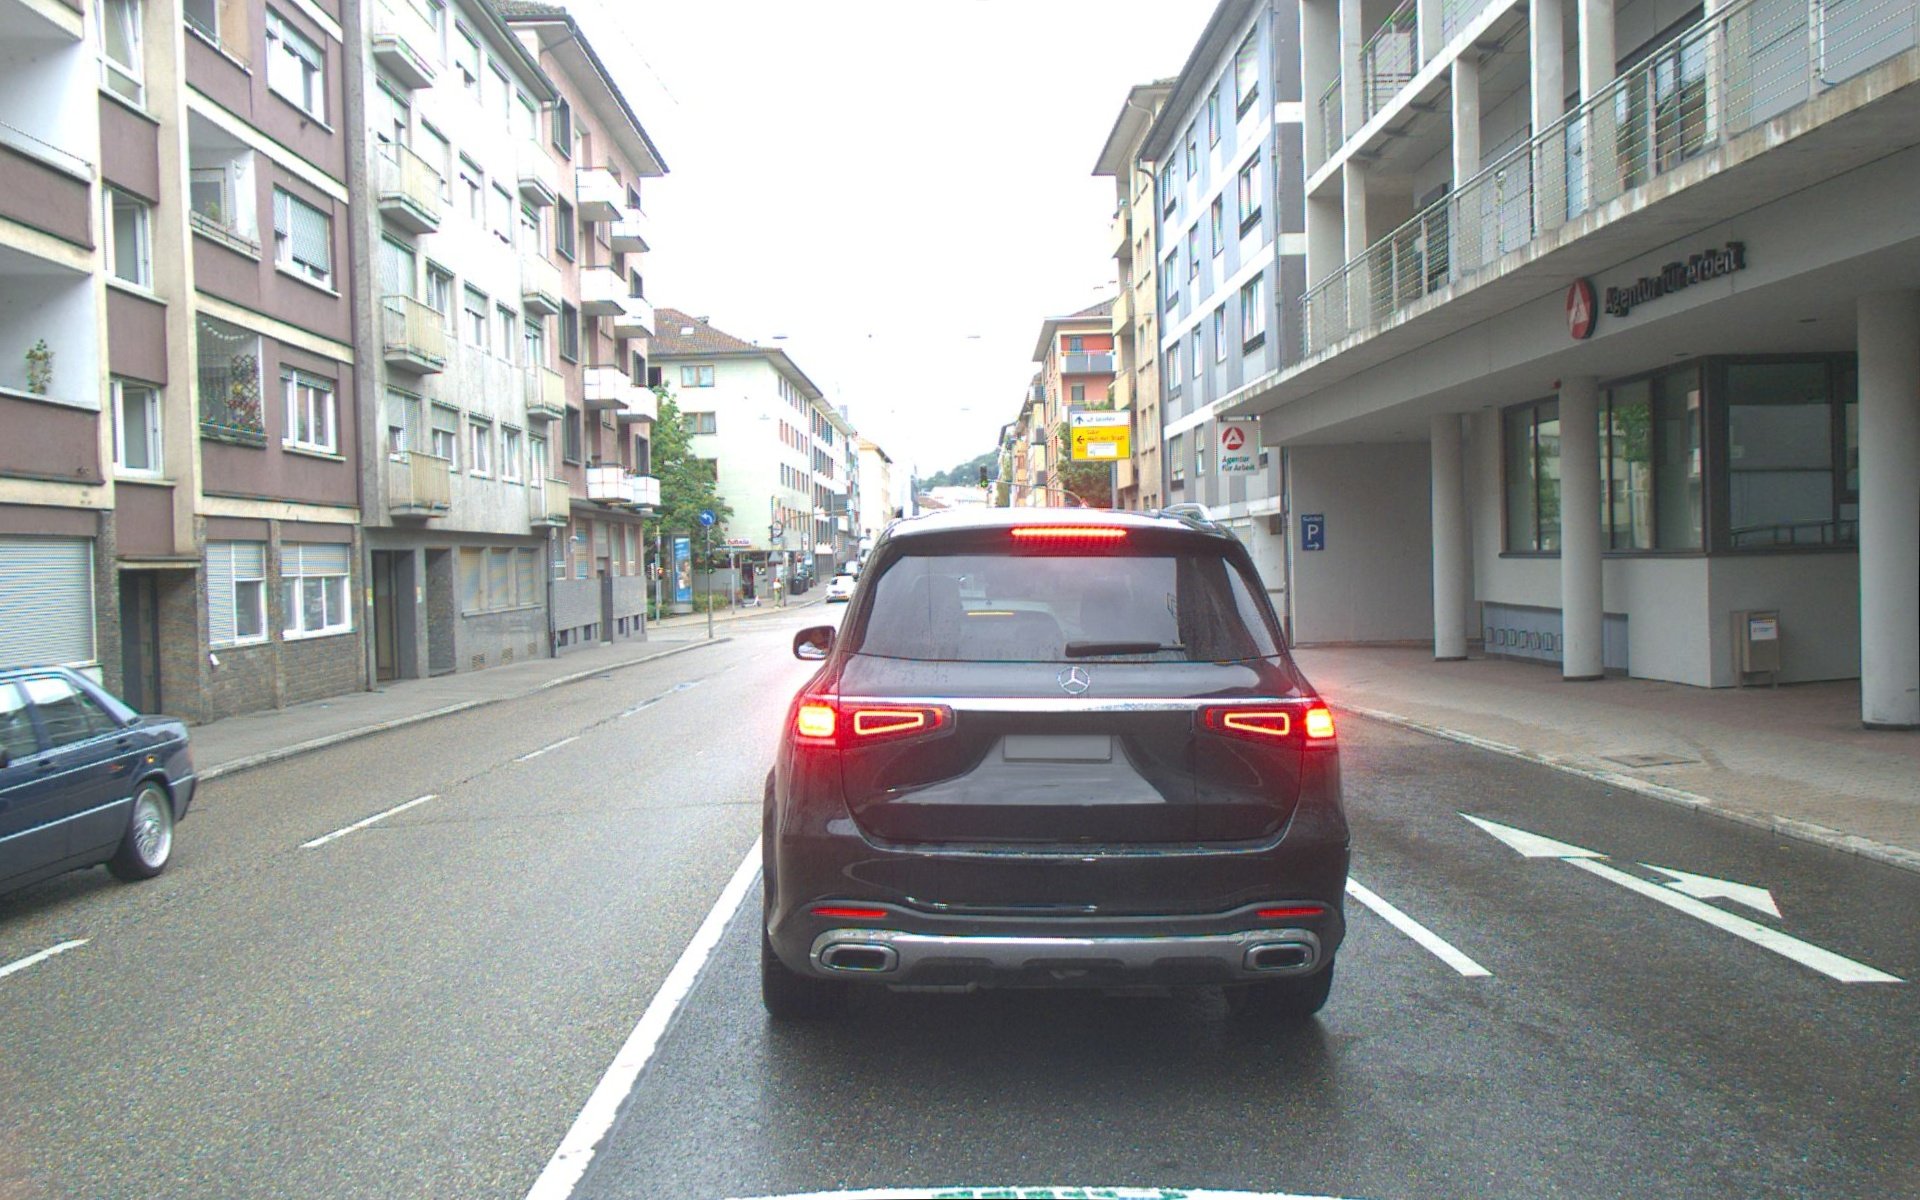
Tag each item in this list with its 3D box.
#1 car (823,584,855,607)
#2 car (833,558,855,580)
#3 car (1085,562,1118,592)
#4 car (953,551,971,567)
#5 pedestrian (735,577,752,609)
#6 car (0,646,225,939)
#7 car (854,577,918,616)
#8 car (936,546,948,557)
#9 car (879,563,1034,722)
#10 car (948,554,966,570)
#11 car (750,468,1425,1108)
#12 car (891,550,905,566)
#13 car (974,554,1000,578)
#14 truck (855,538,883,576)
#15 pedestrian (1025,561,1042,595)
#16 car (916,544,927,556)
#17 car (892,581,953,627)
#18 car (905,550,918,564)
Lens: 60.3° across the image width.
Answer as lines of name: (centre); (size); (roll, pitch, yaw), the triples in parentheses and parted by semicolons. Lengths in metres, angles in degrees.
car: (-7.394, -0.246, 101.377); (1.848, 1.286, 4.215); (-3, 0, -3)
car: (-9.210, -2.460, 131.490); (1.586, 1.566, 4.215); (-3, 0, -3)
car: (8.092, -1.333, 94.754); (1.636, 1.616, 3.331); (-2, 1, 1)
car: (0.199, -4.096, 166.965); (1.586, 1.411, 4.215); (-3, 0, -3)
pedestrian: (-13.312, -0.420, 101.639); (0.904, 1.935, 0.706); (-2, 0, -3)
car: (-5.666, 1.067, 8.826); (1.566, 1.394, 4.361); (-4, 0, -2)
car: (-3.331, -0.122, 73.808); (1.594, 1.566, 4.193); (-3, 0, -20)
car: (-2.746, -7.480, 256.327); (1.586, 1.566, 4.215); (-3, 0, -3)
car: (-0.139, 0.485, 20.826); (1.716, 1.762, 4.215); (-1, 0, -3)
car: (-0.334, -4.138, 179.793); (1.586, 1.566, 4.215); (-3, 0, -3)
car: (0.347, 0.560, 7.018); (1.944, 1.836, 4.389); (1, 0, -1)
car: (-7.276, -4.903, 193.605); (1.586, 1.566, 4.215); (-3, 0, -3)
car: (2.088, -2.723, 130.914); (1.689, 1.790, 4.216); (-3, 1, -3)
truck: (-8.597, -4.021, 156.942); (2.430, 3.099, 9.914); (-3, 0, -3)
pedestrian: (4.474, -1.327, 101.113); (0.904, 2.049, 0.706); (-2, 0, -3)
car: (-5.816, -7.522, 250.223); (1.586, 1.566, 4.215); (-3, 0, -3)
car: (-1.370, 0.134, 62.267); (1.777, 1.566, 4.220); (-3, 0, 5)
car: (-6.469, -5.668, 219.213); (1.586, 1.566, 4.215); (-3, 0, -3)
